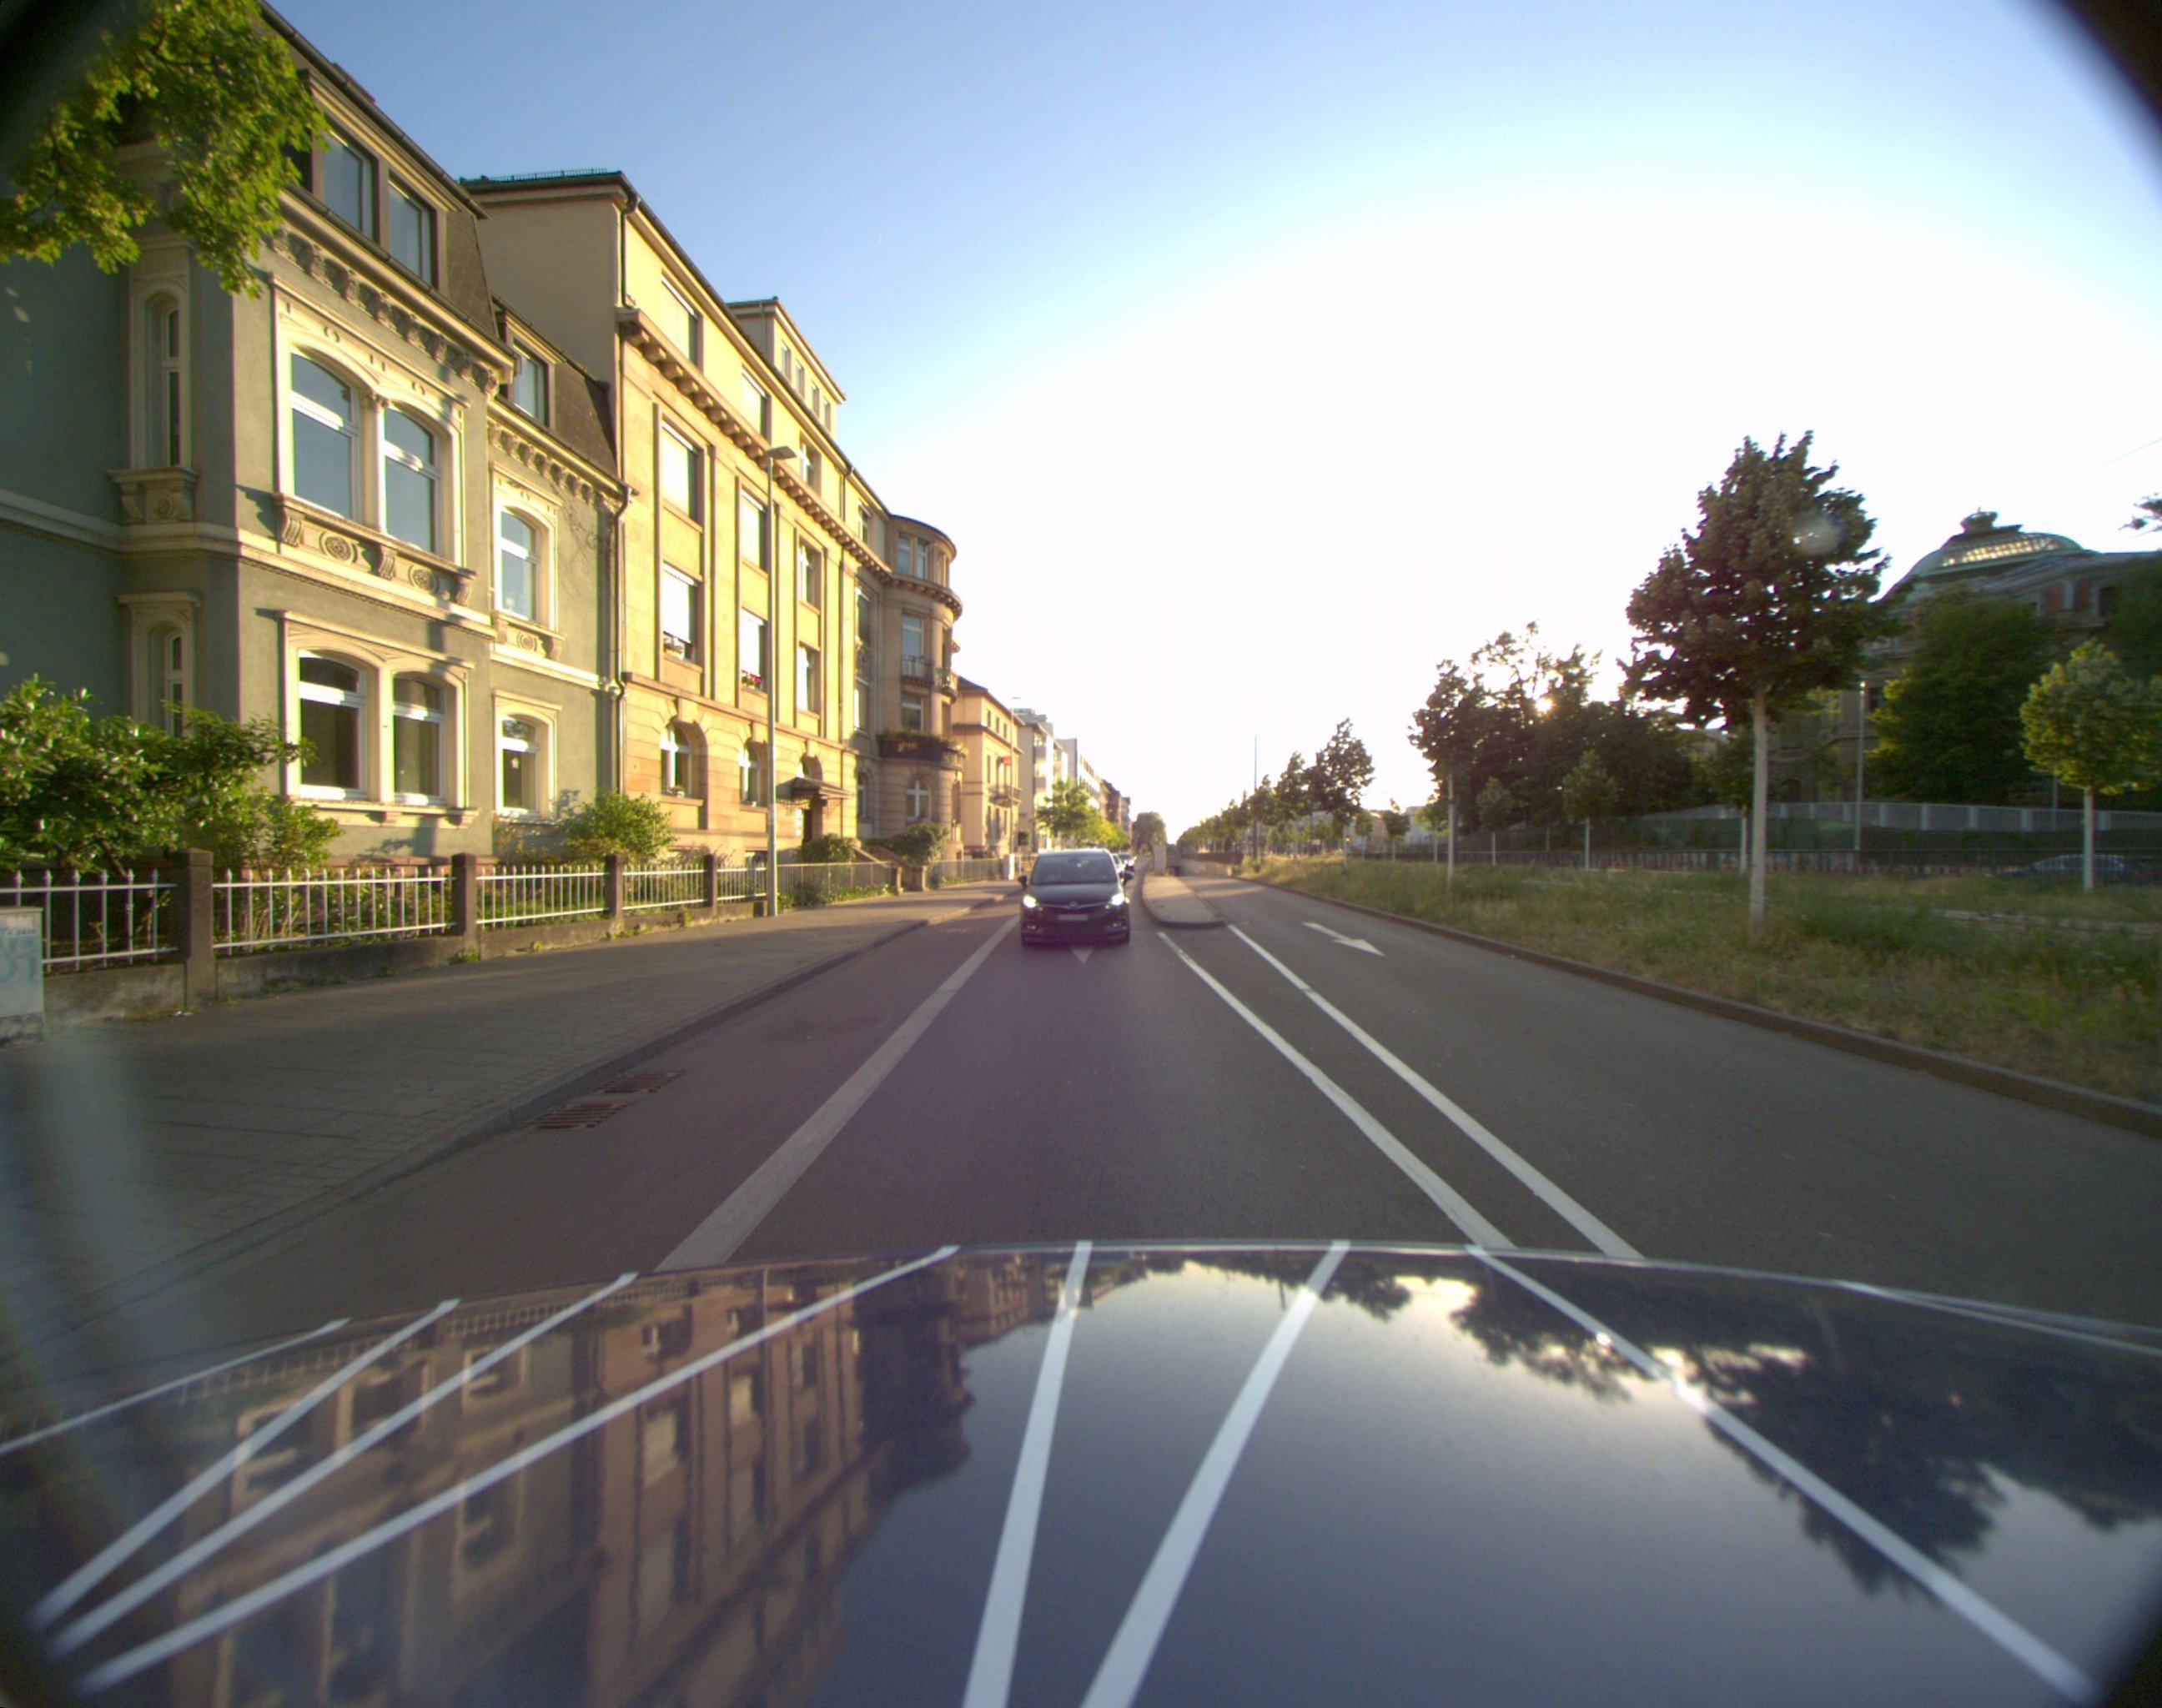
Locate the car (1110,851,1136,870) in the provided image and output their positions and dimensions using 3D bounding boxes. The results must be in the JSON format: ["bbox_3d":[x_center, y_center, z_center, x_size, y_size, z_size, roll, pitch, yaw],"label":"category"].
[{"bbox_3d":[3.305,0.515,58.885,1.858,1.425,4.845,-2,-1,5],"label":"car"}]

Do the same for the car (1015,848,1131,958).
[{"bbox_3d":[-0.063,0.743,14.130,1.771,1.649,4.852,0,1,1],"label":"car"}]

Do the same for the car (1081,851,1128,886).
[{"bbox_3d":[1.151,0.655,34.921,1.858,1.425,4.845,-2,-1,5],"label":"car"}]

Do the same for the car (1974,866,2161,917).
[{"bbox_3d":[32.789,1.148,24.883,1.936,1.472,4.524,-2,-1,5],"label":"car"}]

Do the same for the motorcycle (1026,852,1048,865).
[{"bbox_3d":[-3.902,0.418,67.584,1.847,1.090,0.576,-1,1,11],"label":"motorcycle"}]

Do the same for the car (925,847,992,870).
[{"bbox_3d":[-8.286,0.285,51.456,4.095,1.472,1.939,-1,0,6],"label":"car"}]
